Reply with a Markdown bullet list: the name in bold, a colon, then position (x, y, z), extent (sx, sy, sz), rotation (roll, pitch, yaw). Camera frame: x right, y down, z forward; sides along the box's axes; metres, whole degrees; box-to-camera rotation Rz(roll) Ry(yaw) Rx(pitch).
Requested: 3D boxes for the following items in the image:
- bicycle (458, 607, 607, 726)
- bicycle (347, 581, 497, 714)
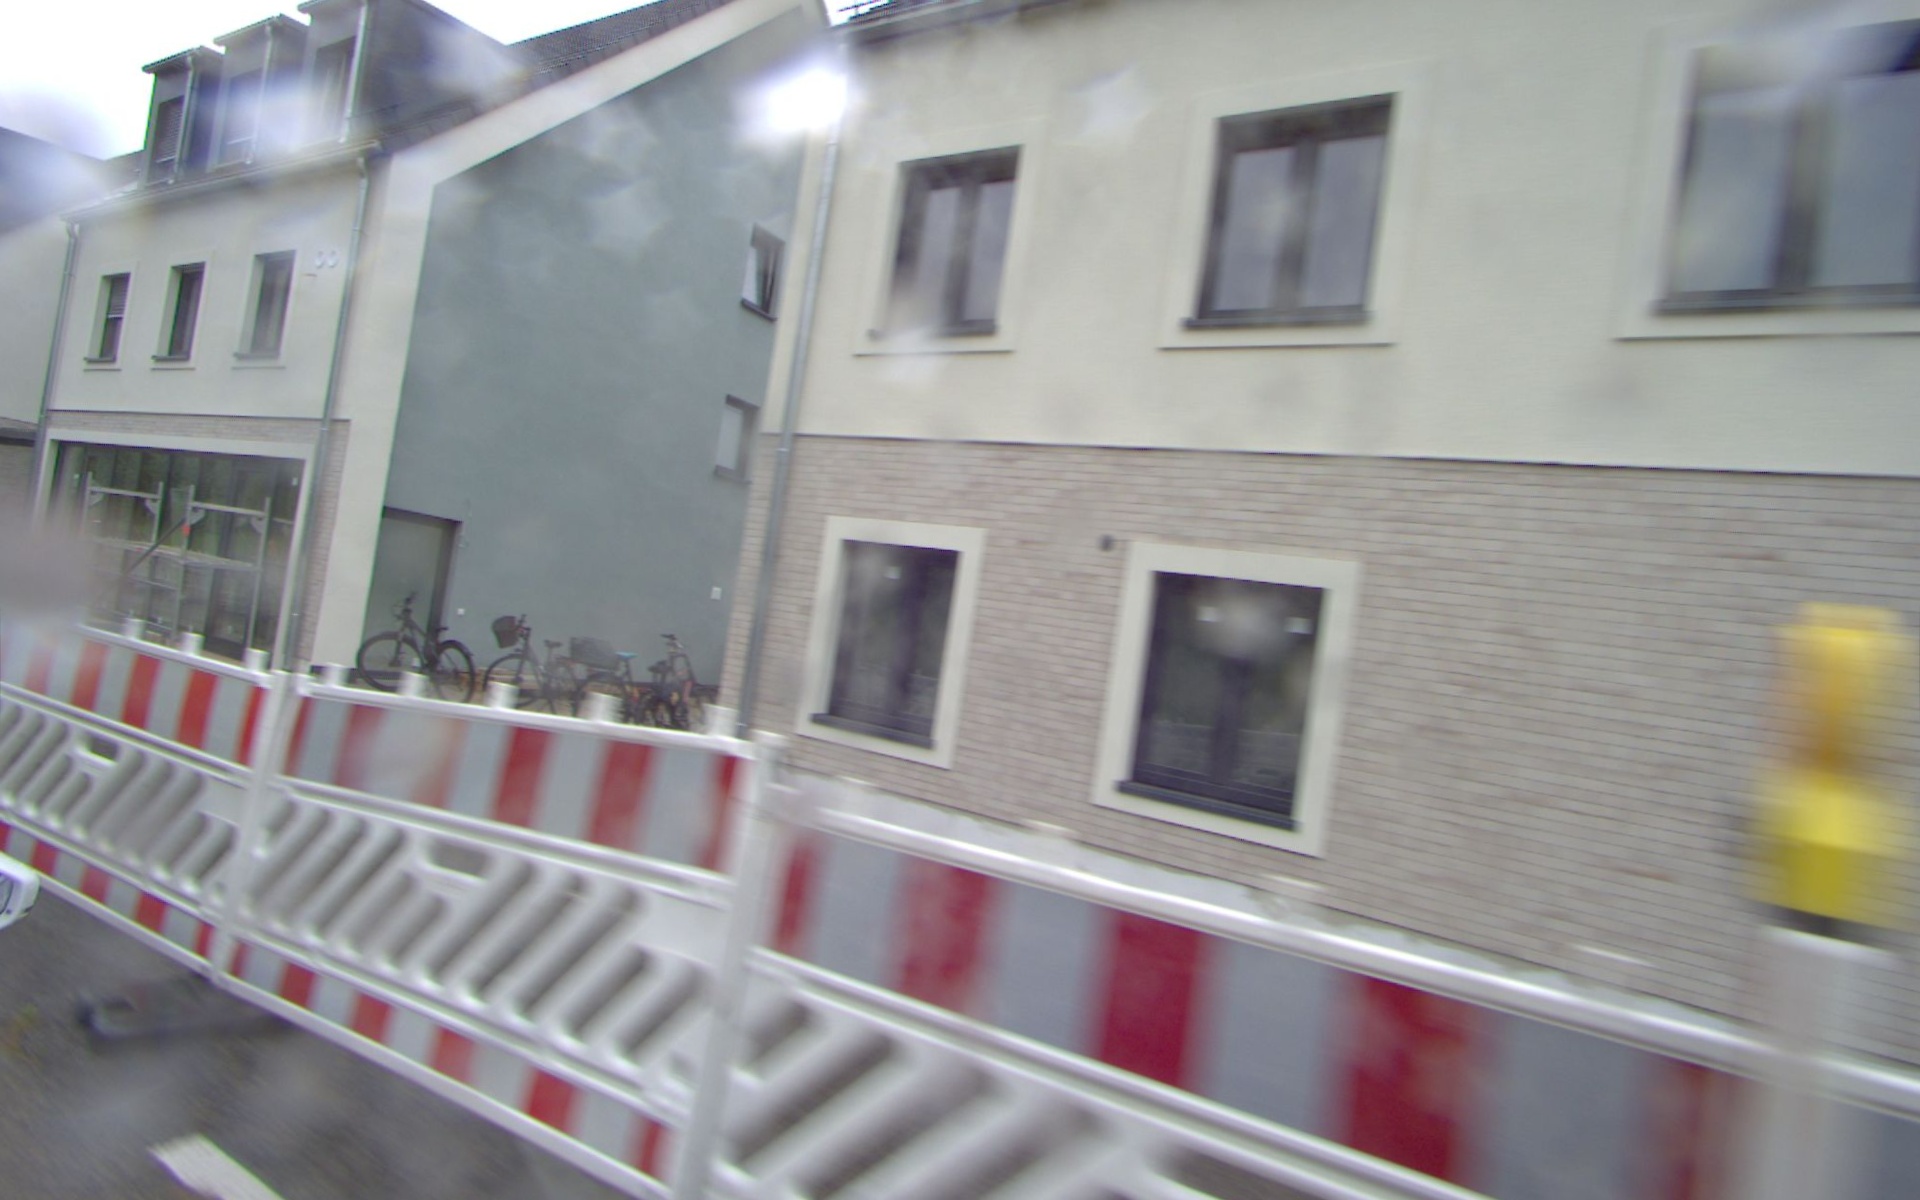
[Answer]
- **bicycle**: position (-4.910, 0.745, 11.511), extent (1.760, 1.114, 0.519), rotation (6, -4, 33)
- **bicycle**: position (-6.011, 0.510, 11.205), extent (1.760, 1.233, 0.519), rotation (6, -4, 33)
